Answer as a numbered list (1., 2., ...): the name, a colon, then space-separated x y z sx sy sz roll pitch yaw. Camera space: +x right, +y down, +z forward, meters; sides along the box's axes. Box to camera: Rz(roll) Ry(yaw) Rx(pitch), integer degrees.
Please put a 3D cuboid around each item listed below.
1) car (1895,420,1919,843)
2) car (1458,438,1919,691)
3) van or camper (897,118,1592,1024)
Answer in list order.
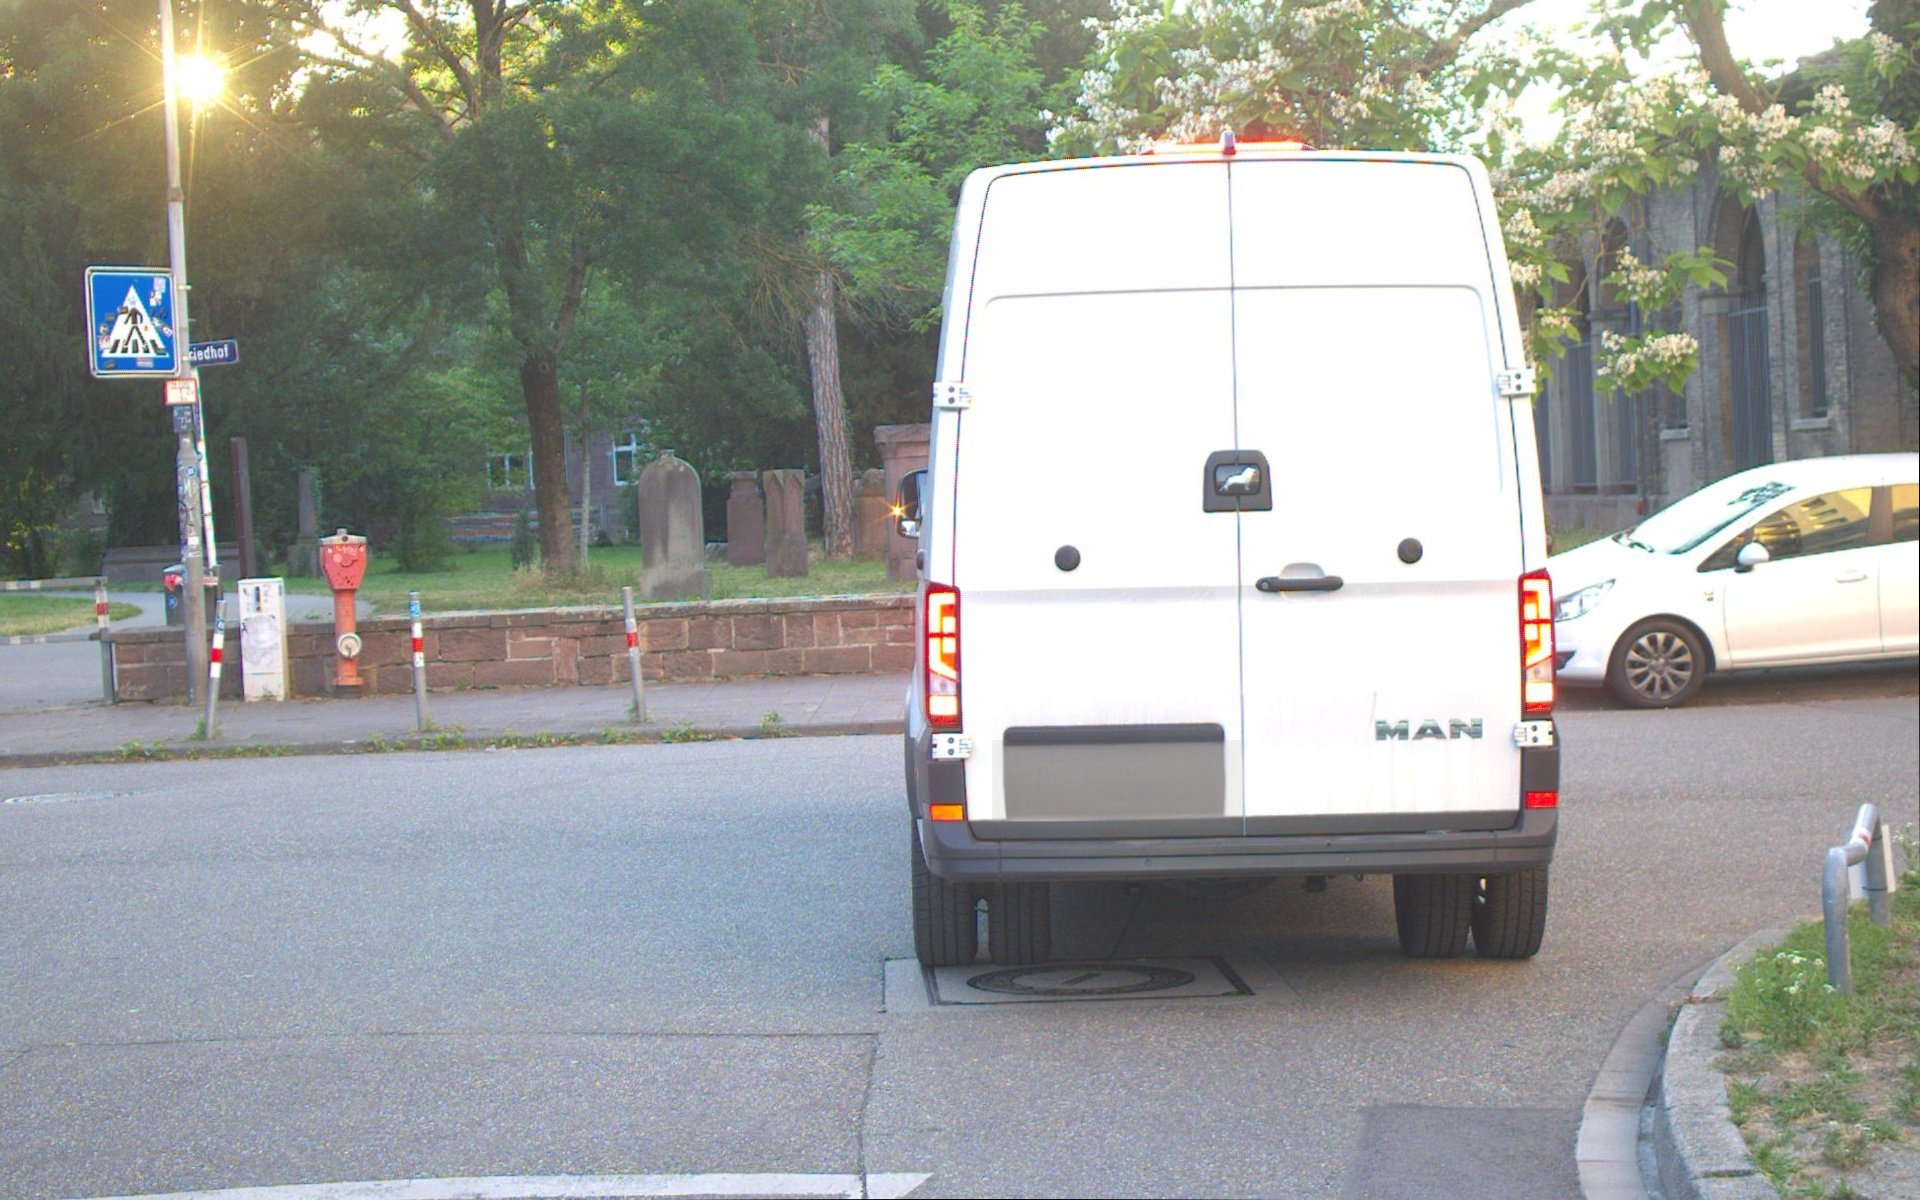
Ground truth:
1. car: 4.053 0.345 5.662 4.403 1.626 1.846 -3 0 -4
2. car: 5.503 -0.284 23.351 3.854 1.568 1.958 -2 2 -3
3. van or camper: 0.794 -0.151 13.127 1.993 2.609 6.403 0 1 0
